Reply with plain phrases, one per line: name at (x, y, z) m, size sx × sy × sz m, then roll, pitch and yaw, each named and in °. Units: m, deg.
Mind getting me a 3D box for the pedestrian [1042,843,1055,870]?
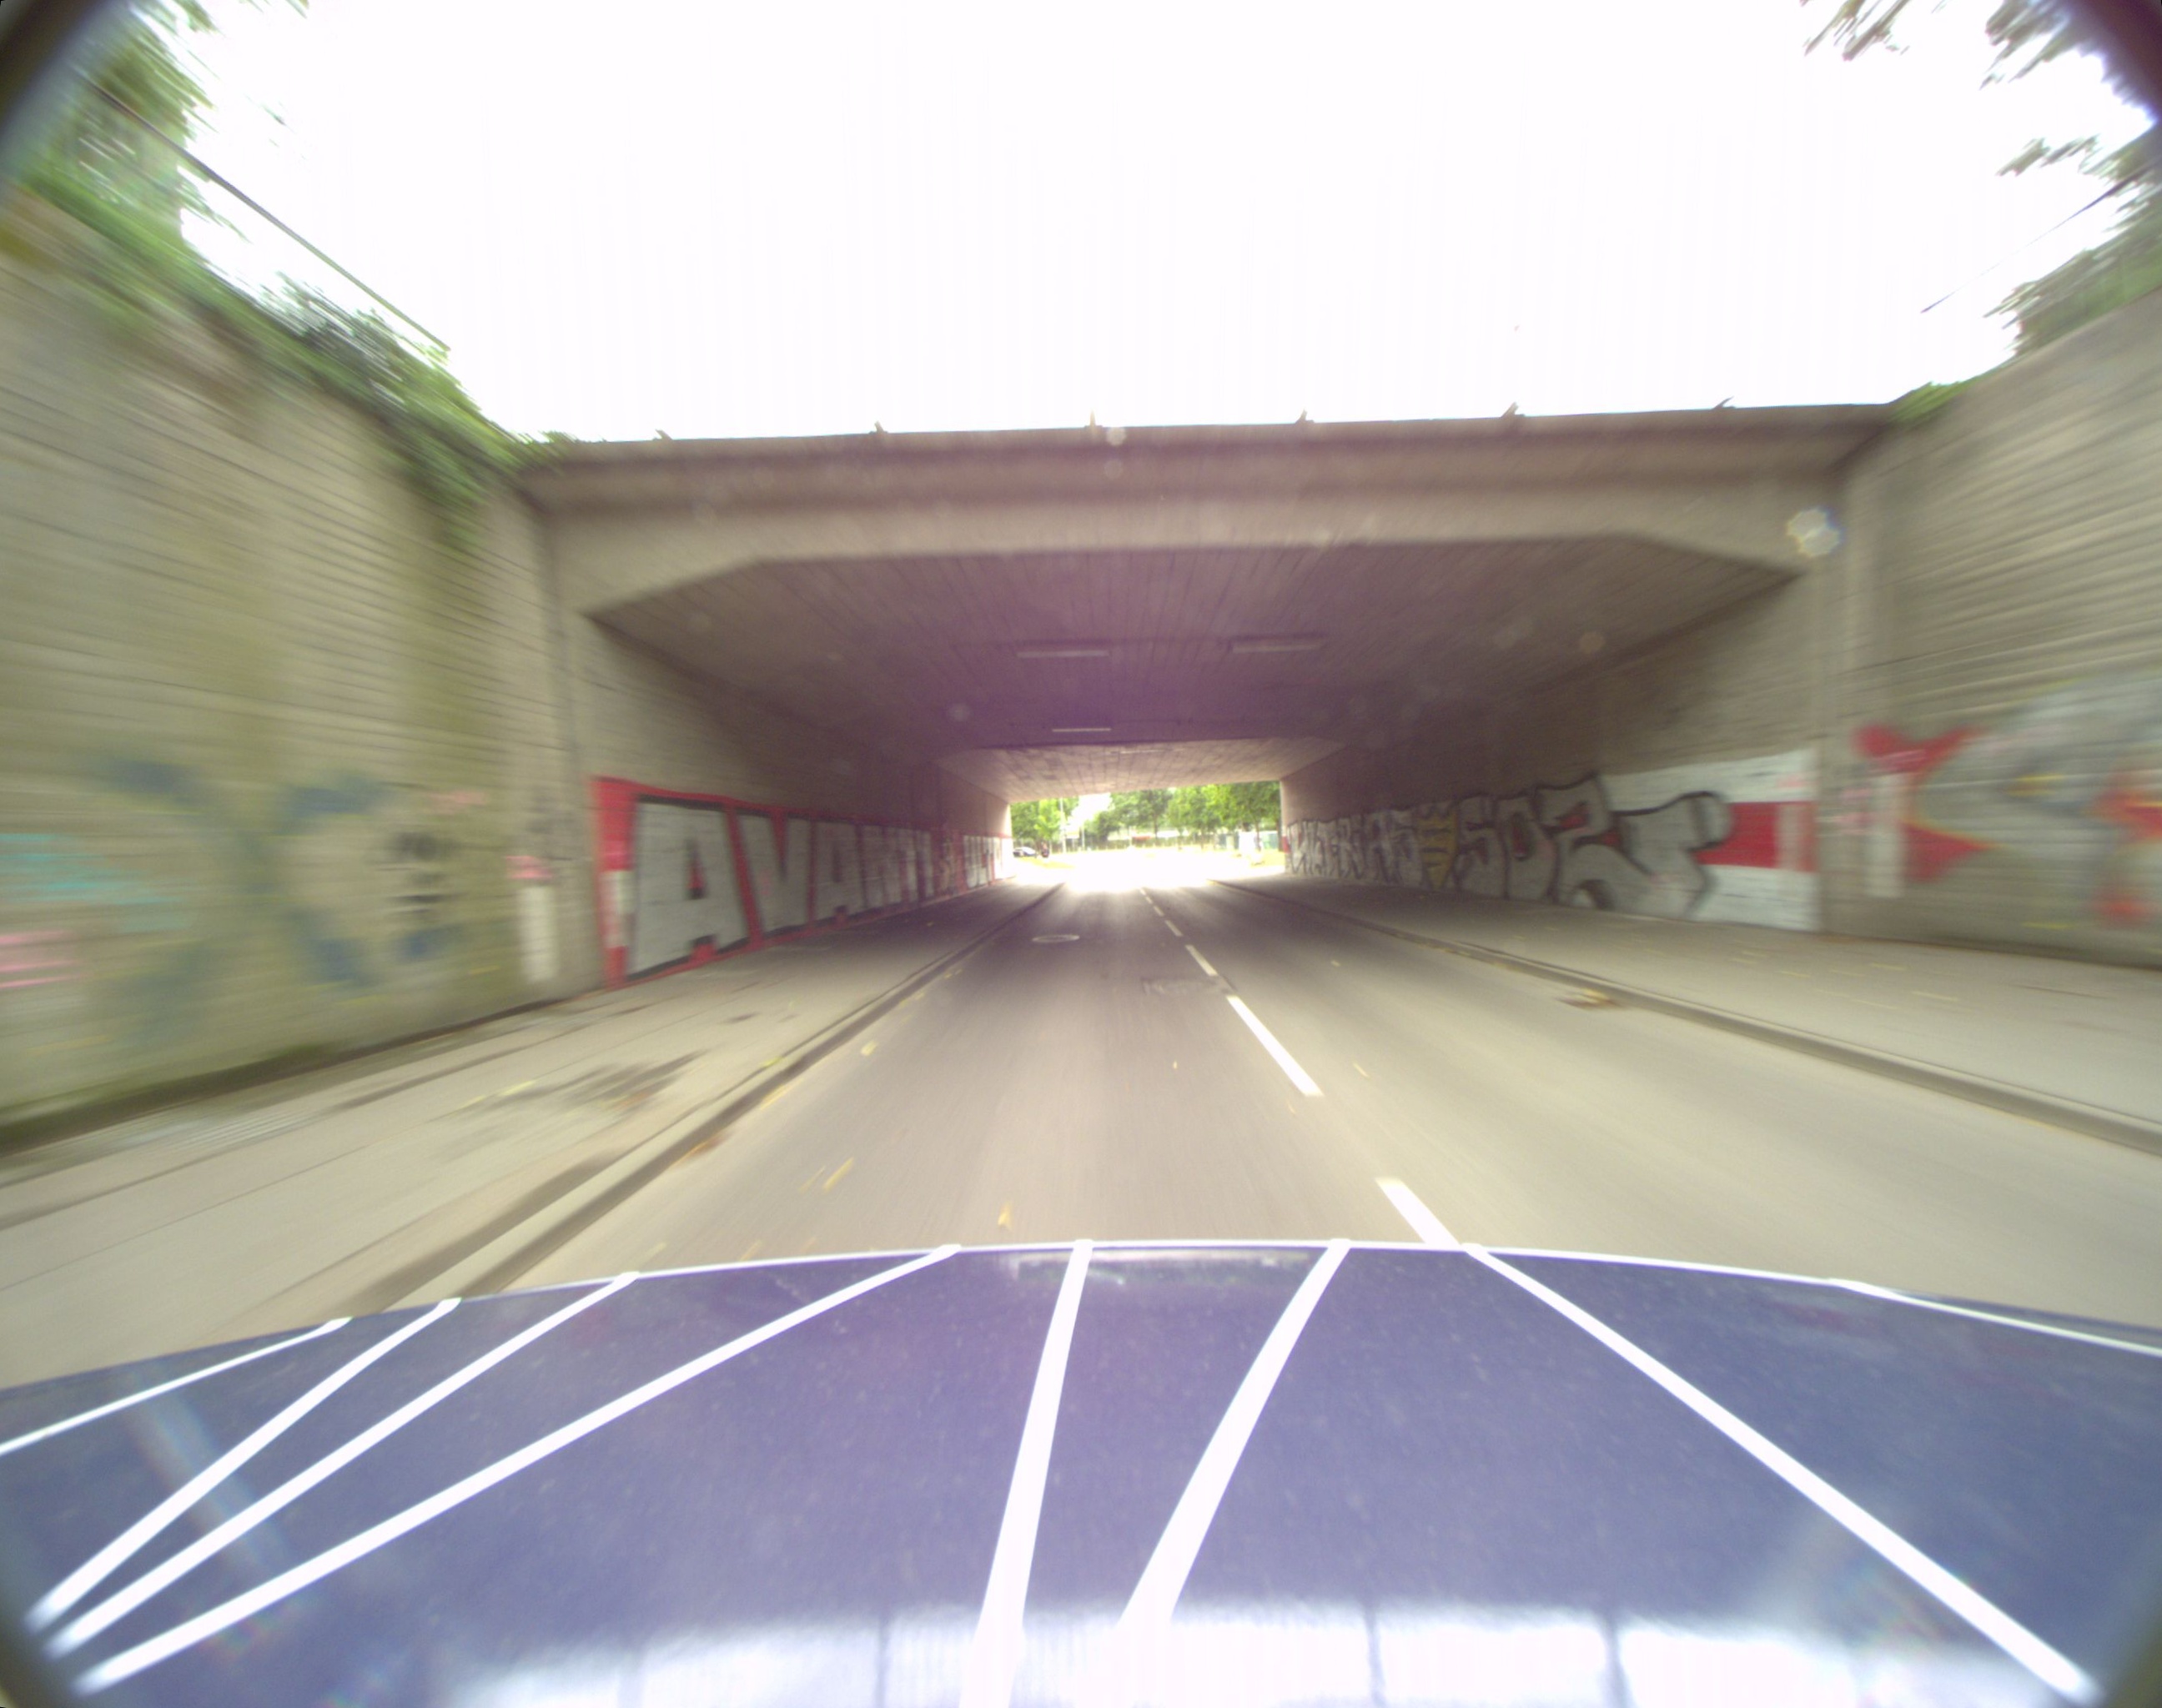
pedestrian at (-2.257, 0.167, 52.636) m, size 0.822 × 1.869 × 1.180 m, roll 0°, pitch 1°, yaw -6°
